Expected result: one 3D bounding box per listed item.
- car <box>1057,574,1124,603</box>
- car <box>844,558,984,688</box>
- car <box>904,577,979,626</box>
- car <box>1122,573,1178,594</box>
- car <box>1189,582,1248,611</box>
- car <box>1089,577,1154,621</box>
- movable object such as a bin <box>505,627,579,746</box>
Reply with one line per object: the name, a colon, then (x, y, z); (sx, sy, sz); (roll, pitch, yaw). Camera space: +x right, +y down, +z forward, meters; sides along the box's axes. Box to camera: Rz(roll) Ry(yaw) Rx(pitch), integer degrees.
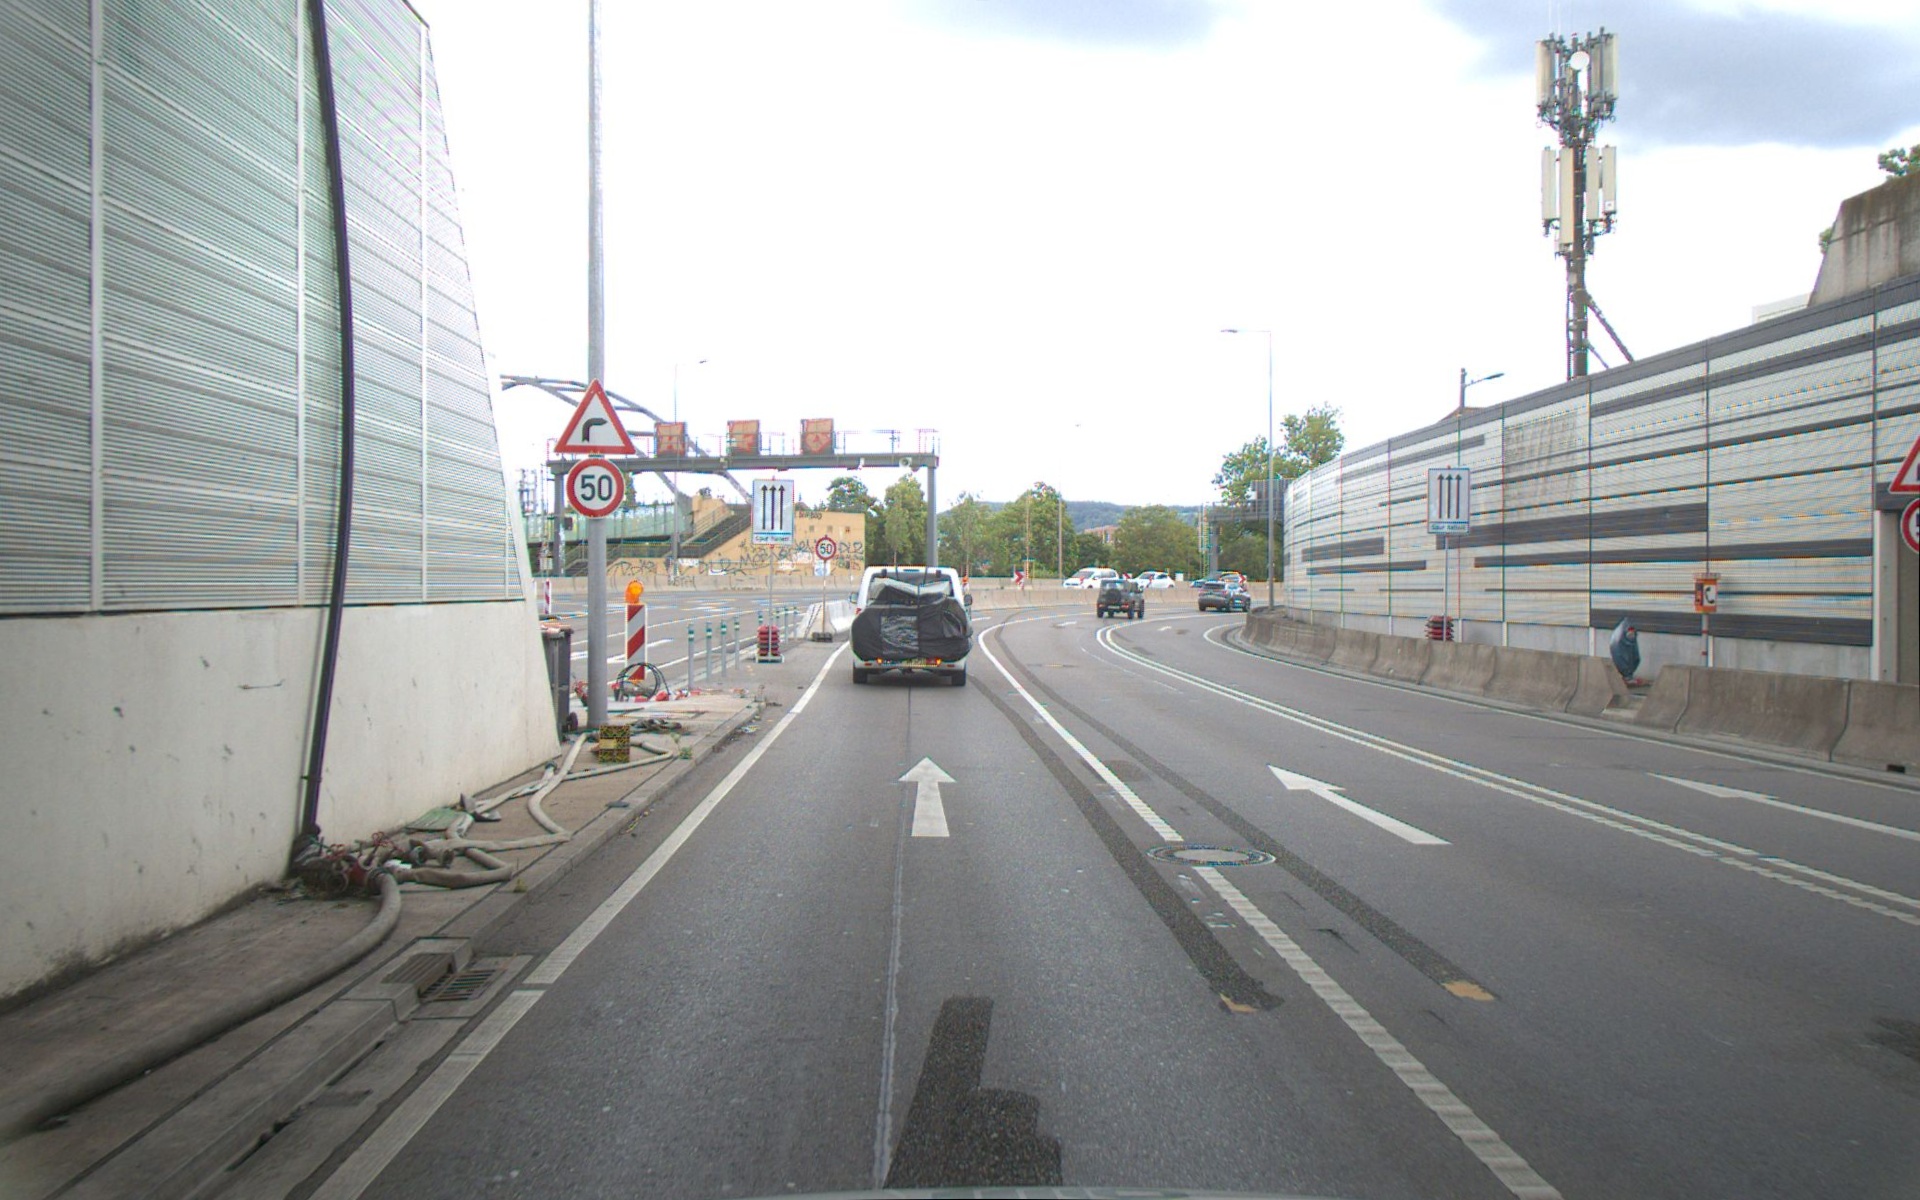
car: (8.462, -0.746, 106.814); (1.917, 1.780, 5.254); (1, 1, 36)
car: (-0.874, 0.339, 27.360); (1.954, 1.891, 5.635); (1, 0, -5)
car: (-0.578, 0.026, 55.104); (1.880, 1.514, 4.069); (1, 1, 8)
car: (13.584, -1.200, 118.189); (4.107, 1.459, 1.740); (0, 1, -41)
car: (14.065, -0.214, 89.822); (1.973, 1.514, 4.060); (1, 1, 28)
car: (7.260, -0.045, 73.980); (1.952, 1.892, 4.001); (1, 0, 20)
movable object such as a bin: (-3.730, 0.764, 14.794); (0.541, 1.026, 0.546); (1, 0, -5)
